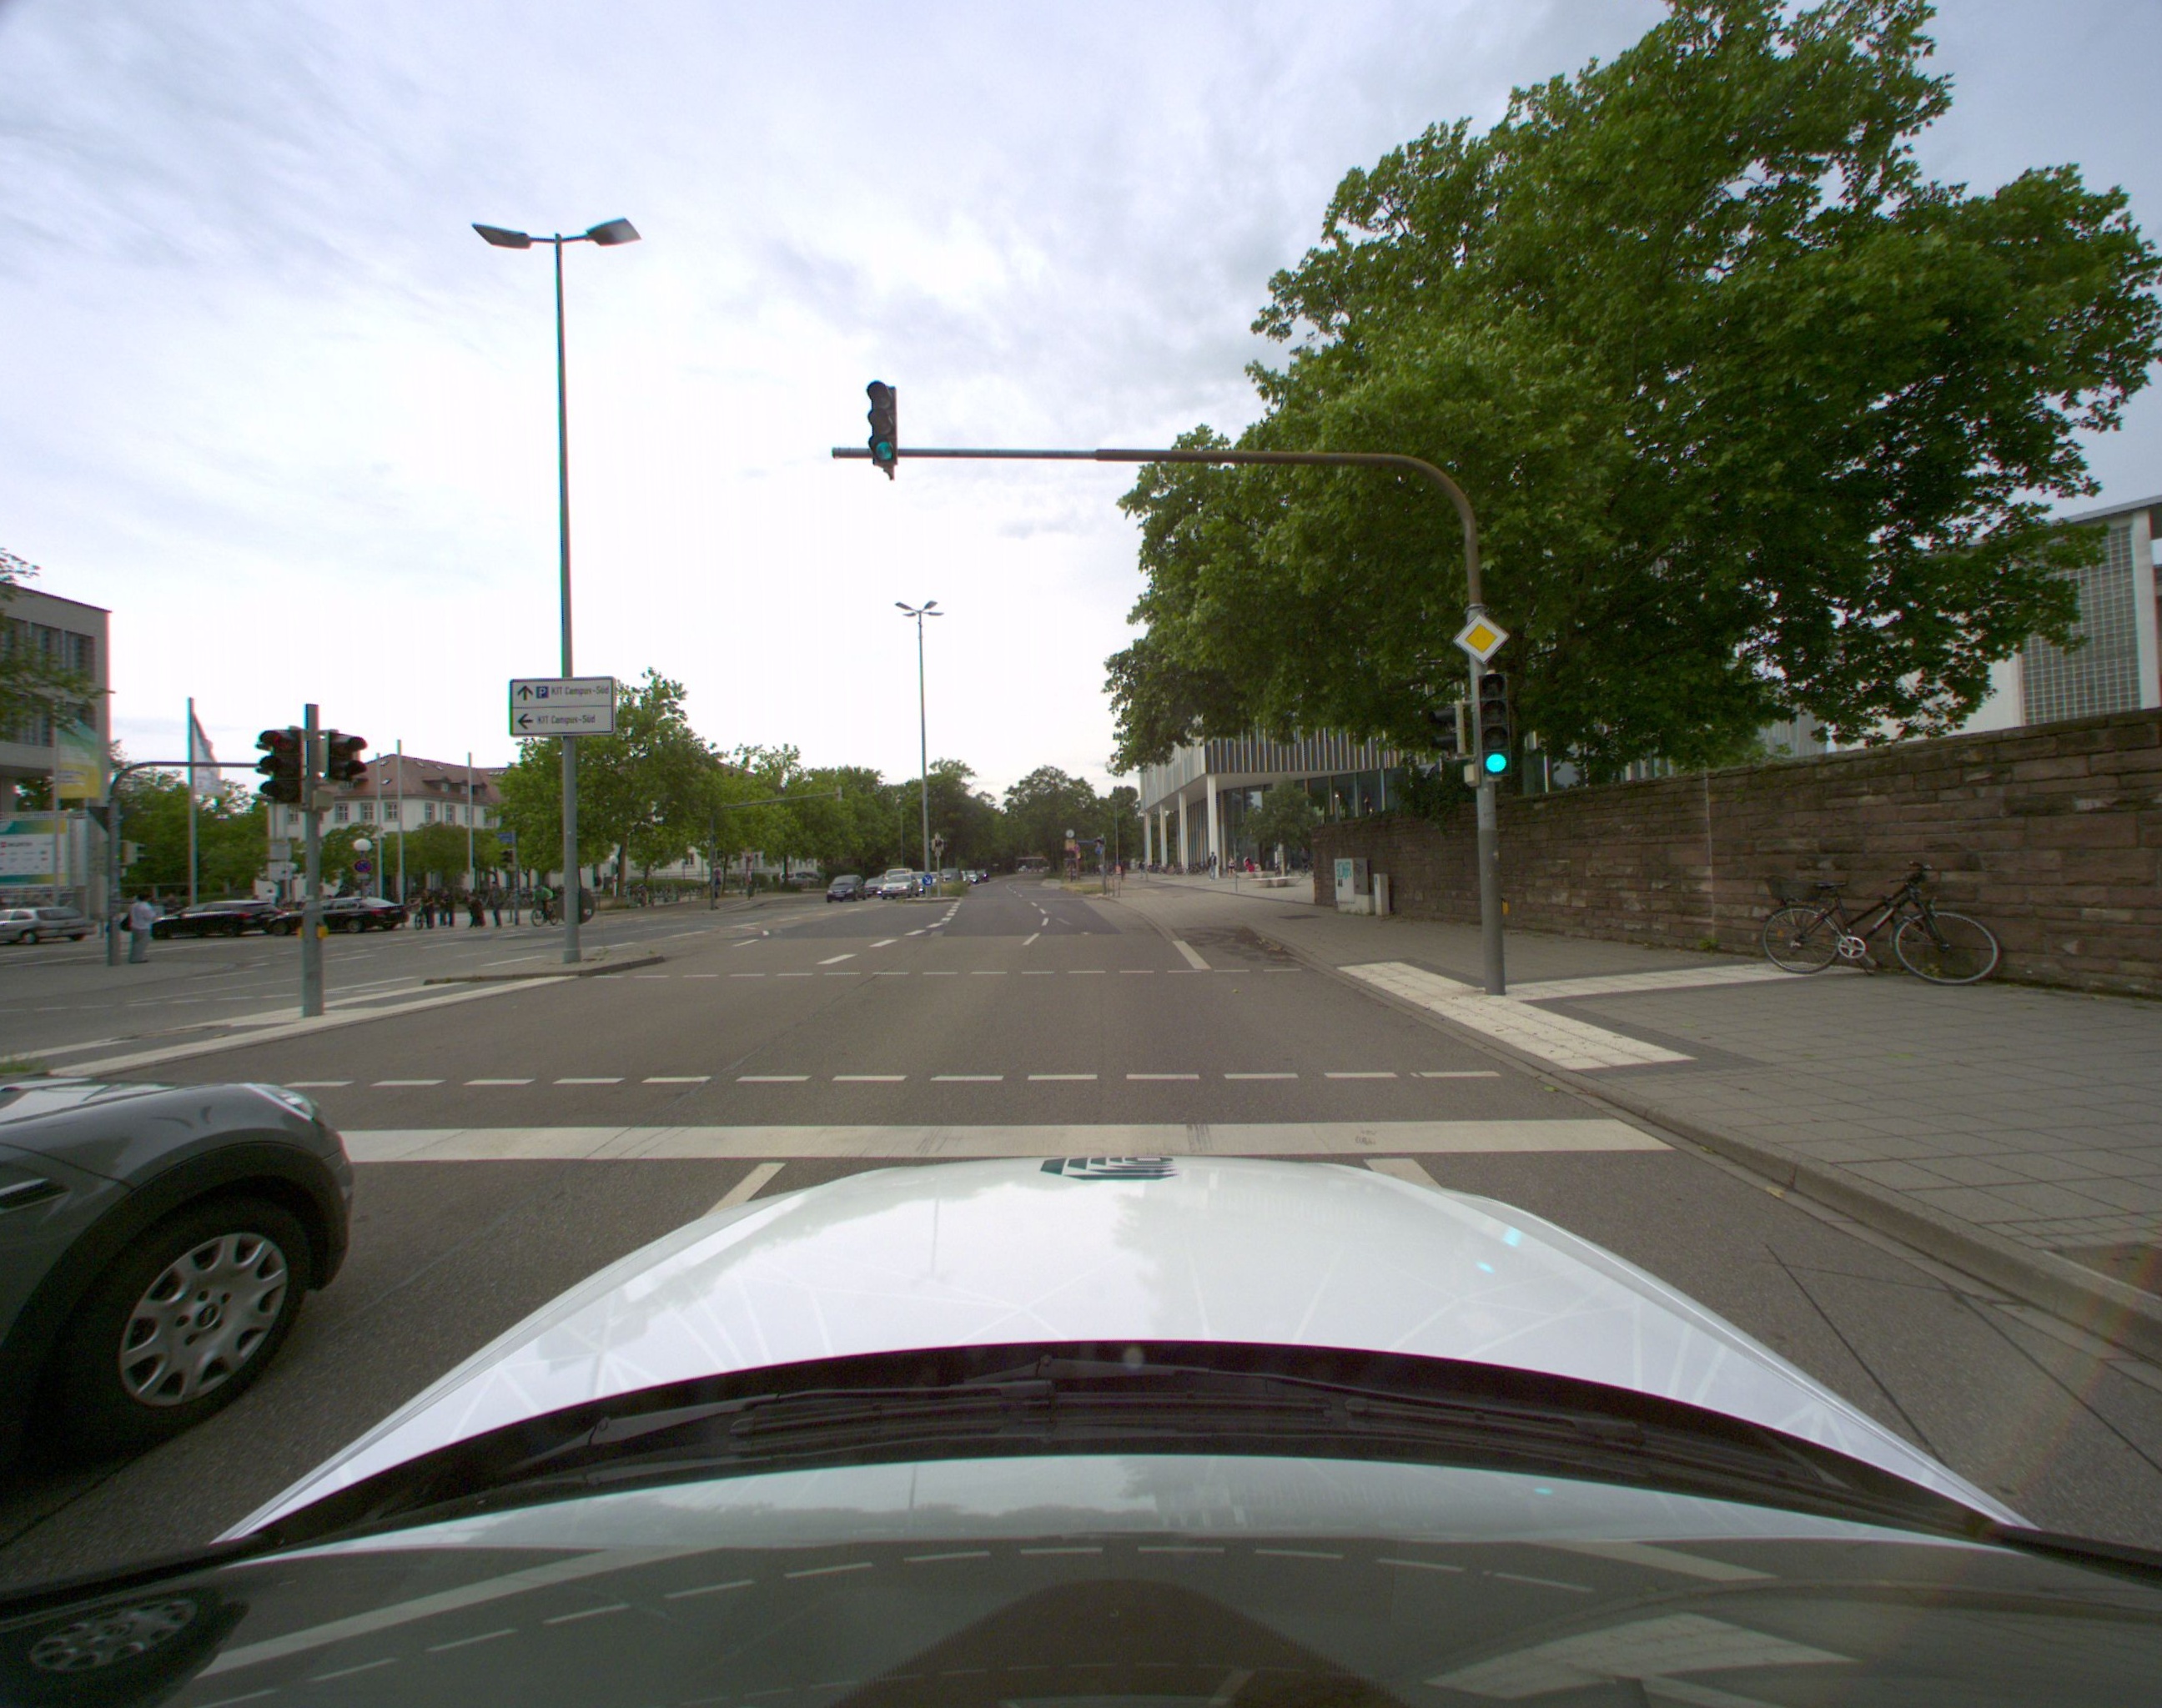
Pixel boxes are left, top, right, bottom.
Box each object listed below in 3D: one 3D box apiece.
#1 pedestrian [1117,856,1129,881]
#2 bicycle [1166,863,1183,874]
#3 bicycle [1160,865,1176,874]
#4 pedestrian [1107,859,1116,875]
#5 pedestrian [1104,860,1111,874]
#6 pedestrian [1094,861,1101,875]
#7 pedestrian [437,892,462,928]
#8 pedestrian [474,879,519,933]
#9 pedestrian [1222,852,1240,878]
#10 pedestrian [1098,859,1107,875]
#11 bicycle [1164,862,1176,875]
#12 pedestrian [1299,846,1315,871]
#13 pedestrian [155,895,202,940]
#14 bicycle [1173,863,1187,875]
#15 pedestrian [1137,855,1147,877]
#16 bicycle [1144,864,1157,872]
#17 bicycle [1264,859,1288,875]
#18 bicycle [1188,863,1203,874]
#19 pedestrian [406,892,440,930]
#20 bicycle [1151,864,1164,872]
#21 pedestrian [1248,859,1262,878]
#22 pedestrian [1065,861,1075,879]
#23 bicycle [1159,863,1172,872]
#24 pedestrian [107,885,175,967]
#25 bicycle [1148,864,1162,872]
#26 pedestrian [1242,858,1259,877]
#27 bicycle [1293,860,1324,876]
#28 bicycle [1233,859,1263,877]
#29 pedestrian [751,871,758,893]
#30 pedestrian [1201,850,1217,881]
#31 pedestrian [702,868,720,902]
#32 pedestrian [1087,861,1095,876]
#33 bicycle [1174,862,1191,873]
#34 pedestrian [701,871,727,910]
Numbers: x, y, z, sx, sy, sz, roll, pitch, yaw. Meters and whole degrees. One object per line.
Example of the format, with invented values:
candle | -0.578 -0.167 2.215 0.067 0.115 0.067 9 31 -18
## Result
pedestrian | 3.518 1.220 68.276 0.840 2.013 0.894 -4 -1 -1
bicycle | 9.556 1.444 83.325 1.602 0.982 0.556 -5 -1 -2
bicycle | 9.231 1.658 86.761 1.602 0.875 0.556 -3 -1 -2
pedestrian | 3.935 1.664 105.640 0.923 2.014 1.038 -2 -1 -4
pedestrian | 3.727 1.860 115.008 0.822 2.014 0.719 -3 -1 -3
pedestrian | 2.376 1.994 114.469 0.823 2.014 0.718 -2 -1 -7
pedestrian | -26.288 2.337 33.906 0.702 1.428 0.991 0 -1 -30
pedestrian | -22.813 2.008 31.817 1.185 2.014 1.133 0 -1 -22
pedestrian | 10.860 0.782 59.035 0.848 1.836 0.885 -2 -1 -32
pedestrian | 2.827 1.744 105.531 0.924 2.014 1.037 -2 -1 -7
bicycle | 8.664 1.407 79.126 0.635 1.140 2.196 -5 -1 -6
pedestrian | 19.118 0.405 68.955 1.171 2.062 1.141 -1 -1 20
pedestrian | -42.274 2.972 38.150 1.000 2.014 1.016 -2 -1 -3
bicycle | 9.242 1.404 76.401 0.608 1.080 1.953 -4 0 -13
pedestrian | 5.775 1.150 77.381 0.840 2.014 0.894 -2 -1 -1
bicycle | 8.798 1.749 103.333 1.602 0.875 0.556 -3 -1 -2
bicycle | 14.085 0.935 58.821 1.971 1.002 0.765 -2 -1 -44
bicycle | 10.476 1.368 74.527 1.496 0.929 0.435 -3 1 -41
pedestrian | -27.234 2.339 33.698 0.825 1.513 0.968 0 -1 -22
bicycle | 9.451 1.711 100.568 1.602 0.875 0.556 -3 -1 -2
pedestrian | 11.617 0.982 54.339 0.885 1.193 0.848 -2 -1 12
pedestrian | -1.293 1.814 94.671 0.910 2.013 0.853 -4 1 -3
bicycle | 9.334 1.476 89.695 1.279 0.875 0.556 -3 -1 -2
pedestrian | -25.191 1.906 21.839 0.664 2.058 0.852 -3 2 -2
bicycle | 9.233 1.743 101.747 1.602 0.875 0.556 -3 -1 -2
pedestrian | 11.186 0.898 53.723 0.834 1.206 0.900 -3 -1 32
bicycle | 15.782 0.978 56.463 2.200 1.006 0.774 -2 -1 -32
bicycle | 12.472 1.030 60.688 2.736 1.188 0.765 -2 -1 -44
pedestrian | -25.588 2.201 63.736 0.419 1.739 0.433 0 -1 -9
pedestrian | 8.514 0.785 54.081 0.840 2.014 0.894 -2 -1 -1
pedestrian | -22.629 1.896 49.831 0.801 2.014 0.923 0 -1 -9
pedestrian | 1.418 2.026 114.643 0.924 2.014 1.037 -2 -1 -7
bicycle | 10.196 1.382 81.870 1.597 0.936 0.570 -5 0 8
pedestrian | -19.574 1.930 43.404 0.892 2.014 1.008 -2 -1 -4
